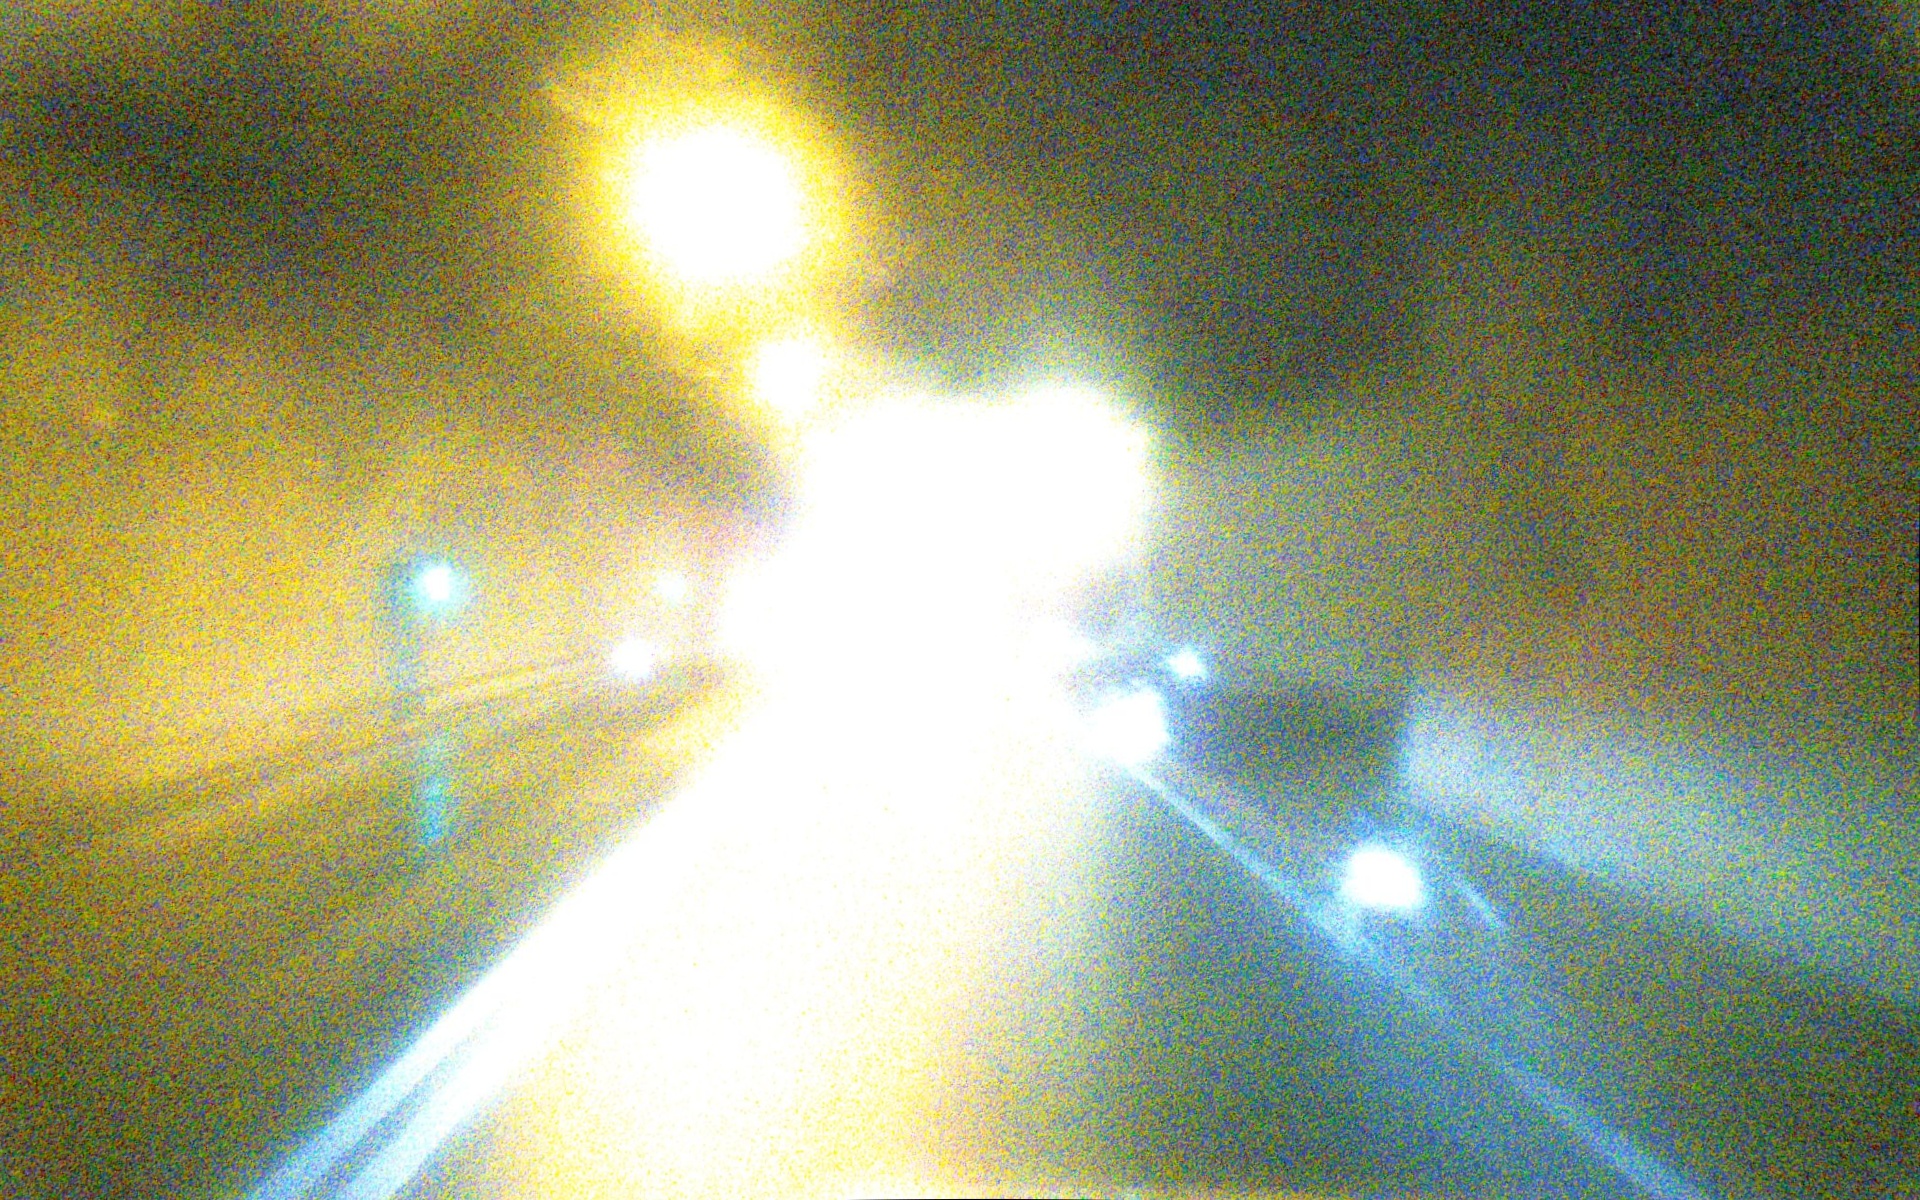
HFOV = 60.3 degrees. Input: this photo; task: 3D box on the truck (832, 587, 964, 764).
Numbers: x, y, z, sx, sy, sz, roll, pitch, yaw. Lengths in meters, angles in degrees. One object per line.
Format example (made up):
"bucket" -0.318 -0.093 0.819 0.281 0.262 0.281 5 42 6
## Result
"truck" -1.291 1.333 33.169 2.217 3.063 7.411 2 0 -3
